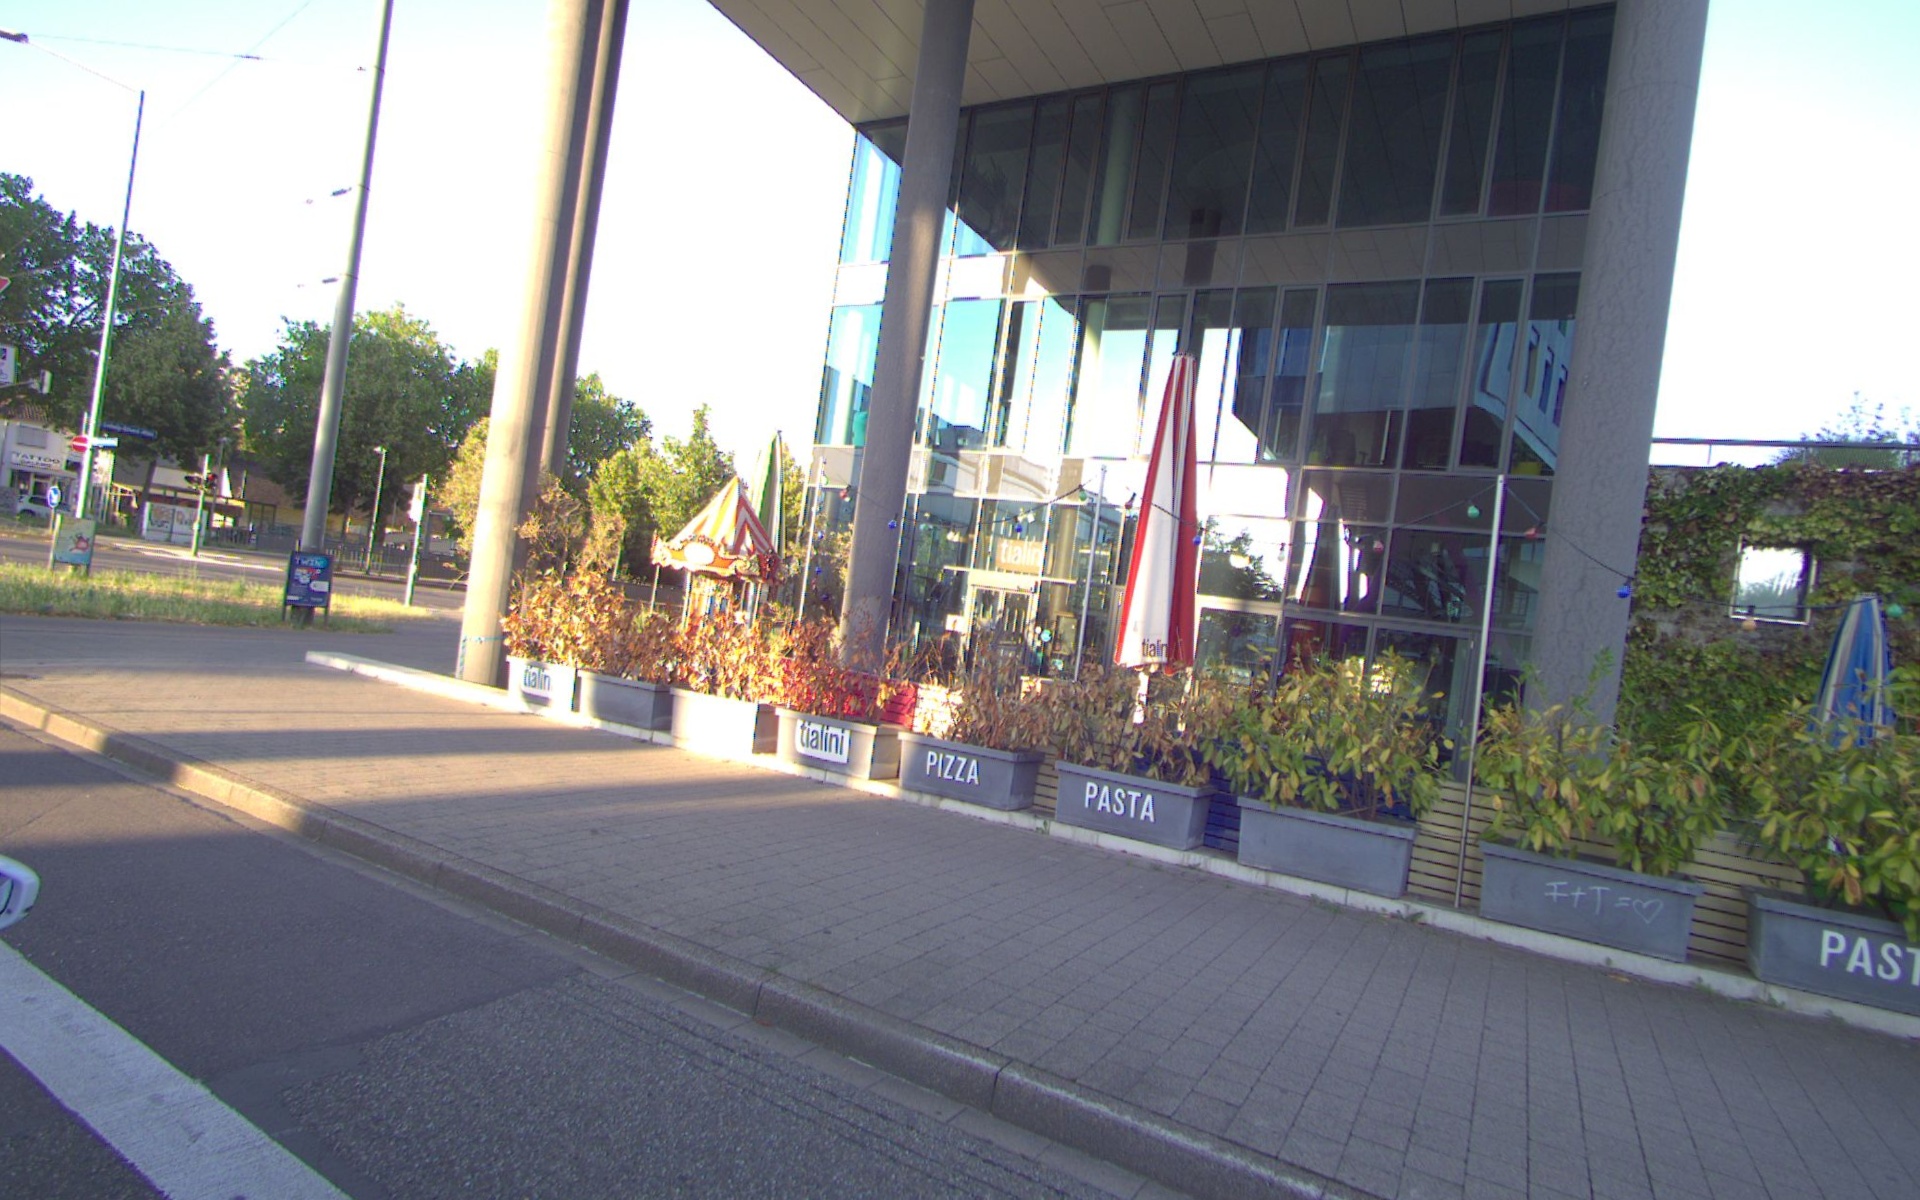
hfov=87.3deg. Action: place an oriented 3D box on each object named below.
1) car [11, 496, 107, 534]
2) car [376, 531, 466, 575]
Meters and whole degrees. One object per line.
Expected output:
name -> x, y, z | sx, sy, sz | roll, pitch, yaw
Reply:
car -> -50.137, -4.724, 56.022 | 1.641, 1.456, 3.736 | 6, -2, 41
car -> -42.568, -3.702, 79.560 | 2.197, 2.581, 5.594 | 7, -2, 39
